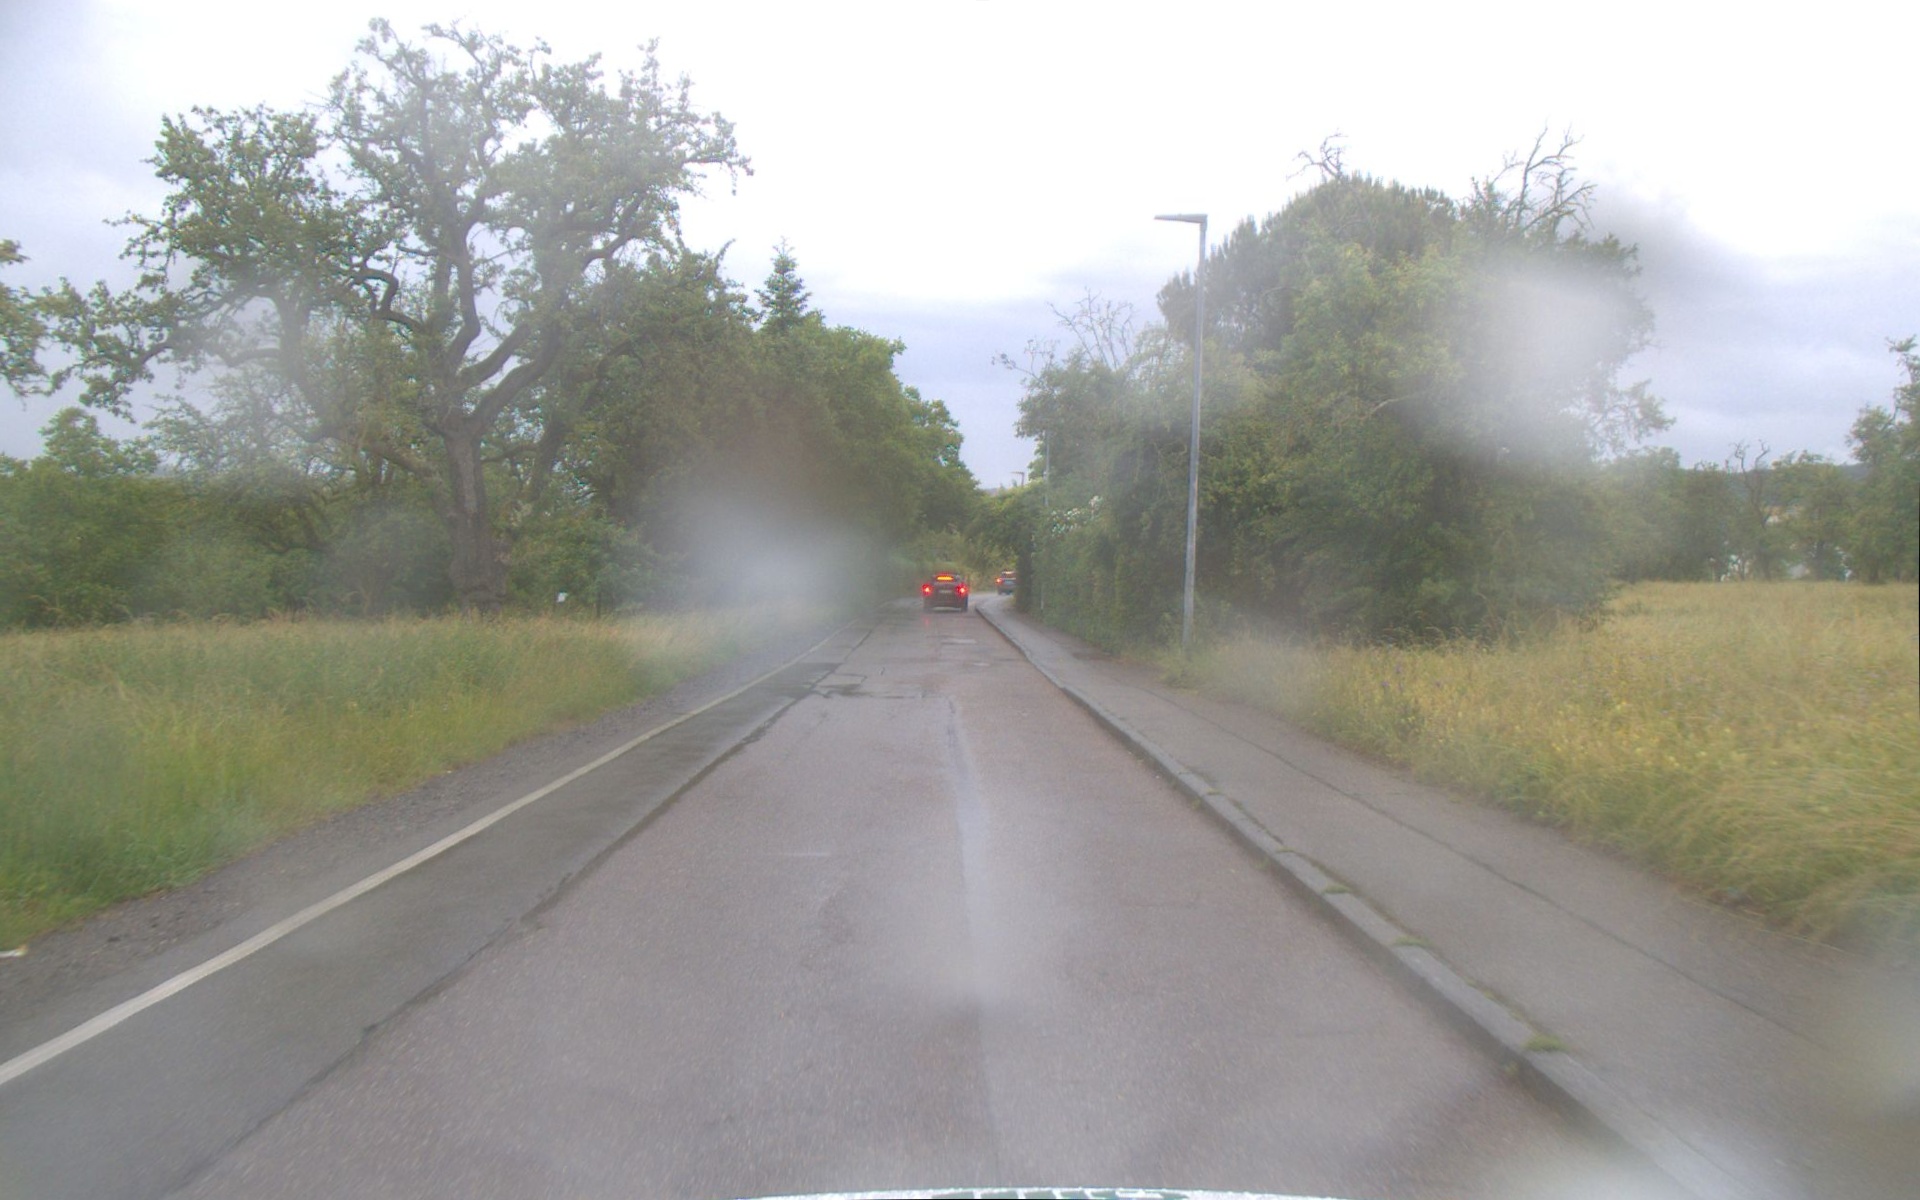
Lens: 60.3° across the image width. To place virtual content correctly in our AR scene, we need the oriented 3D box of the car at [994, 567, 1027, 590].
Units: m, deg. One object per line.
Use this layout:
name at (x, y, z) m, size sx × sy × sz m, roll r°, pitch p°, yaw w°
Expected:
car at (3.382, -1.449, 110.426) m, size 1.600 × 1.439 × 3.547 m, roll 1°, pitch 0°, yaw 11°

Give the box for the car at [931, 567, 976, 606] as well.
car at (-0.250, -0.530, 67.154) m, size 1.600 × 1.475 × 3.546 m, roll 1°, pitch 0°, yaw 3°
